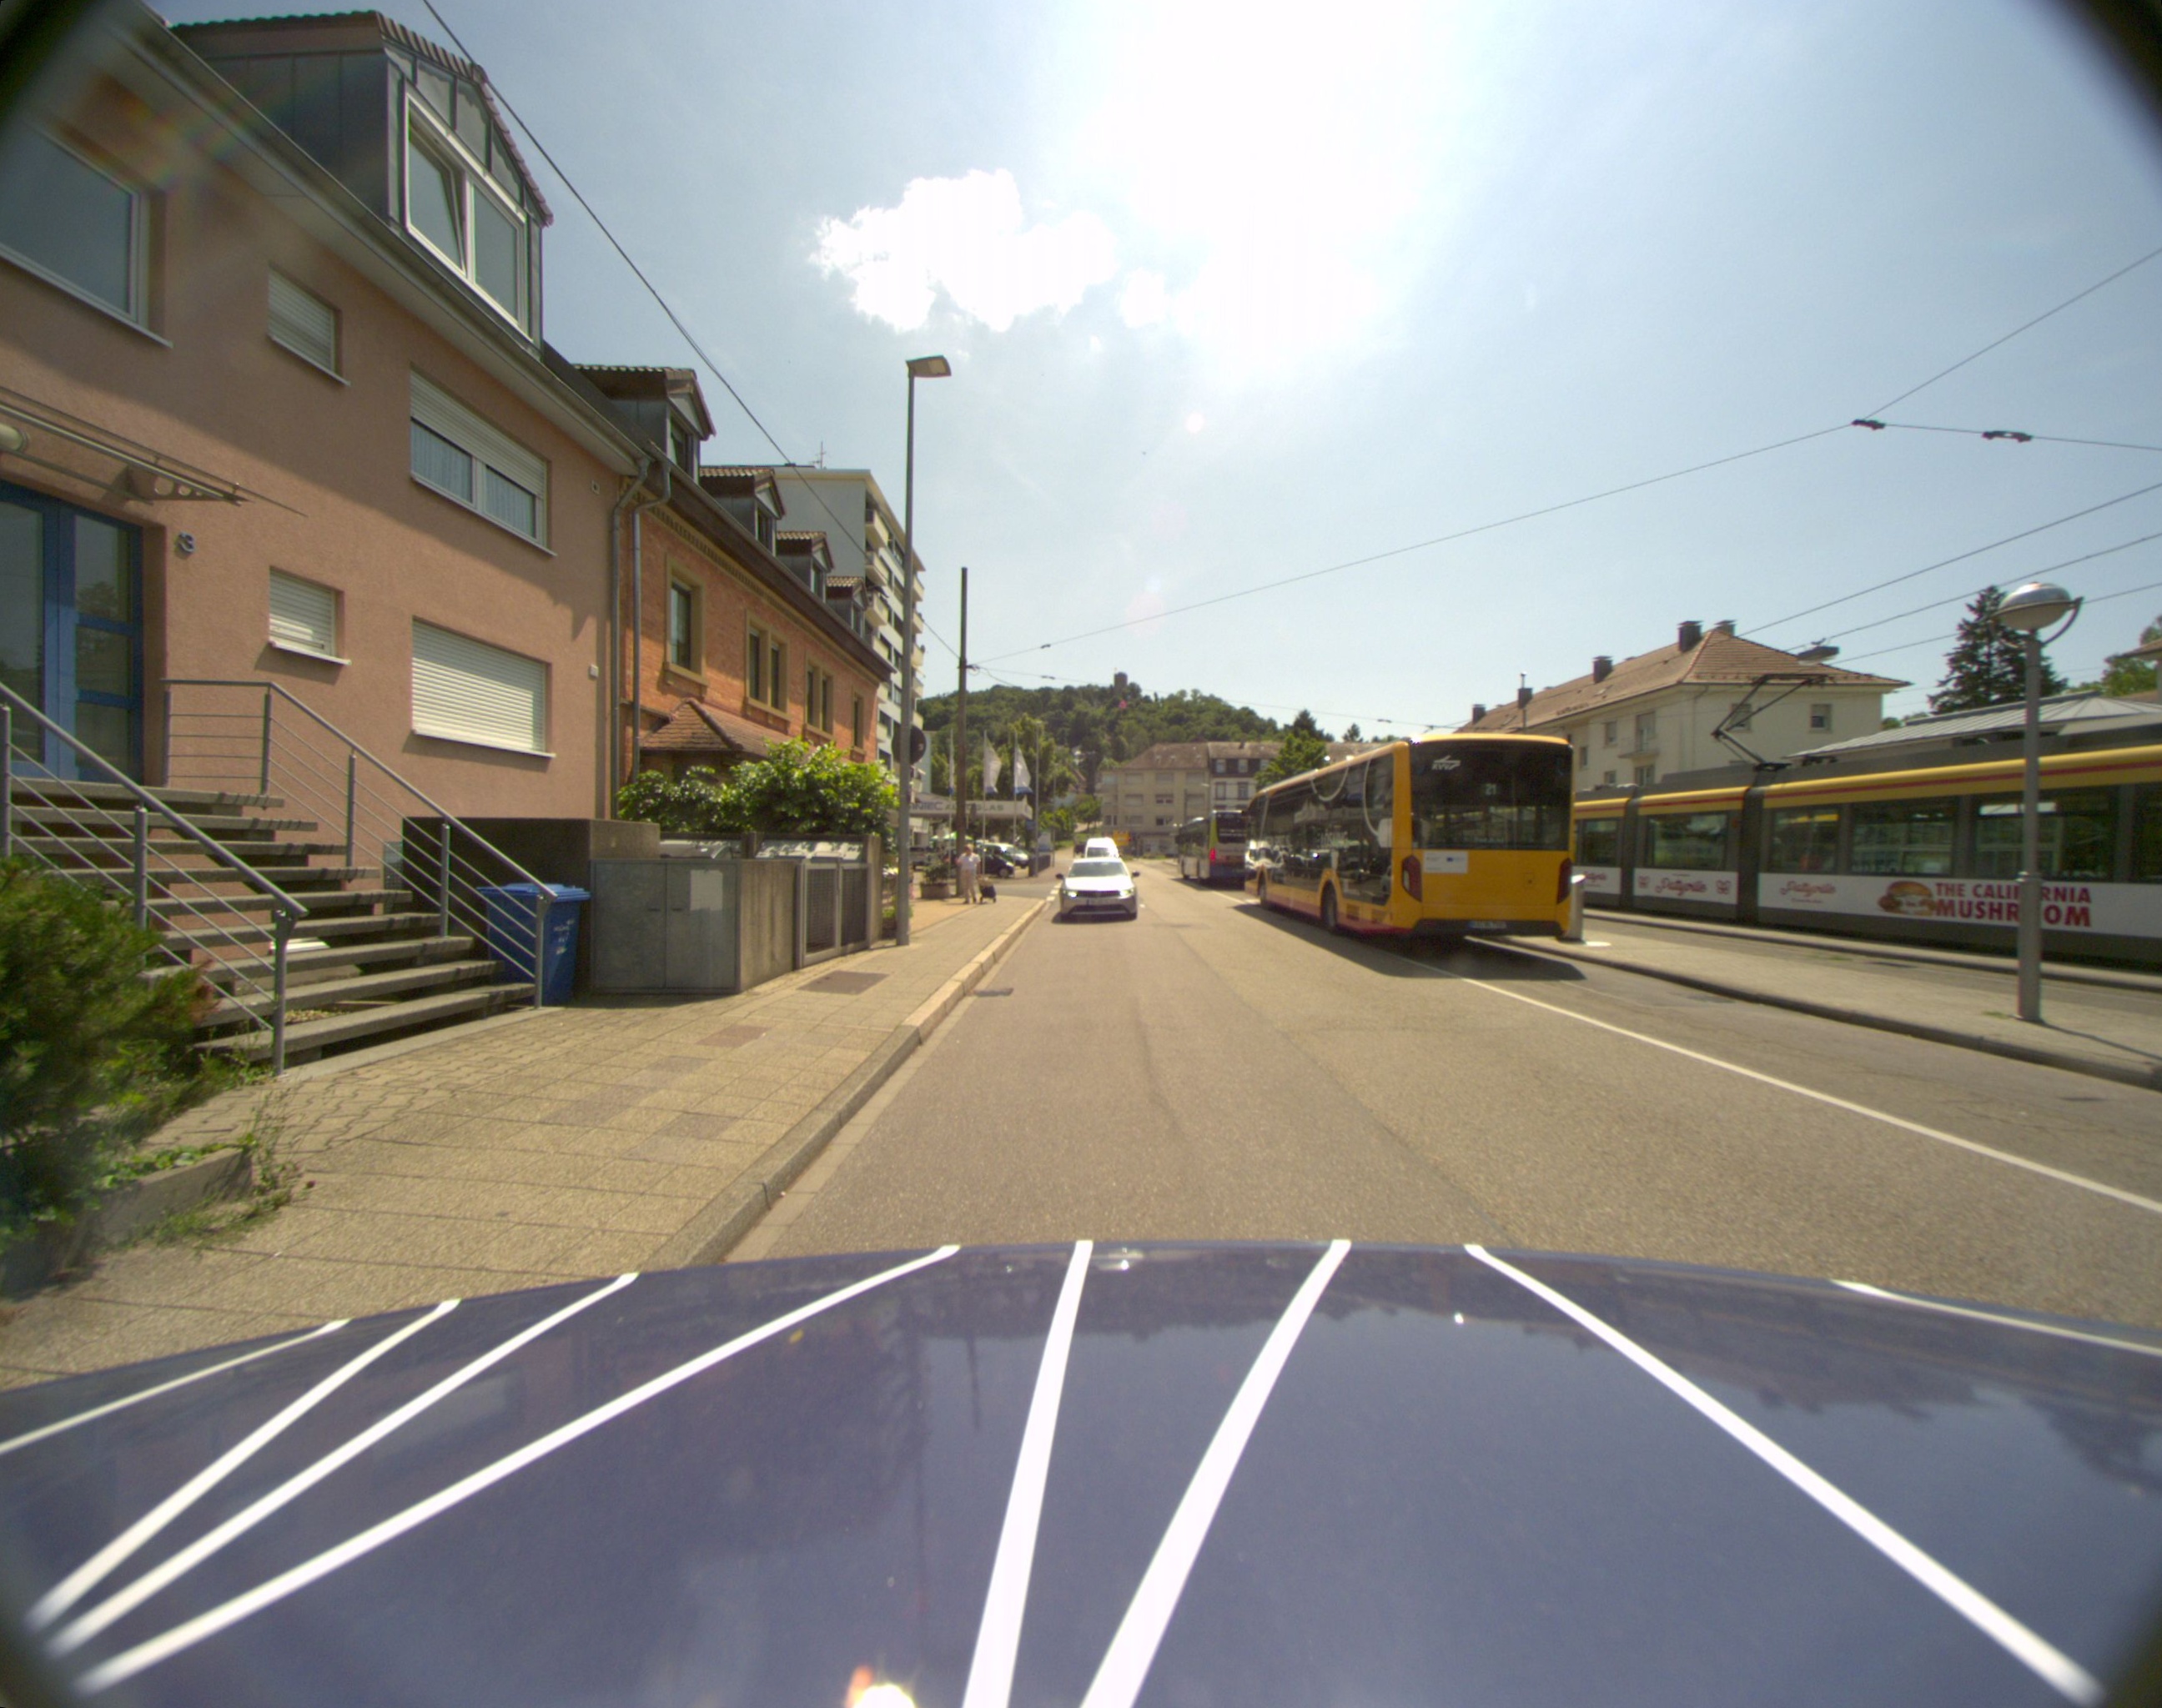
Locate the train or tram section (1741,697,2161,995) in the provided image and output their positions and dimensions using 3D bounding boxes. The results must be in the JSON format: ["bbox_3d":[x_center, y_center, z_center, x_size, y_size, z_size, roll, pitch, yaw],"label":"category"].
[{"bbox_3d":[14.585,-0.112,8.222,2.970,3.622,13.992,-1,1,1],"label":"train or tram section"}]

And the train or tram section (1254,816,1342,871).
[{"bbox_3d":[15.485,-0.758,55.599,2.970,3.475,12.711,-1,1,1],"label":"train or tram section"}]

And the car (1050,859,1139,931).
[{"bbox_3d":[0.445,0.876,18.074,1.817,1.371,4.392,0,1,5],"label":"car"}]

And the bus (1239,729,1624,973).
[{"bbox_3d":[5.985,-0.218,16.320,2.905,3.229,12.193,-1,2,2],"label":"bus"}]

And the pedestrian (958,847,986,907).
[{"bbox_3d":[-3.072,0.641,21.381,0.707,1.632,0.659,2,0,-8],"label":"pedestrian"}]

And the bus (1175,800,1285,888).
[{"bbox_3d":[6.617,-0.382,35.932,2.915,3.407,12.040,-1,0,1],"label":"bus"}]

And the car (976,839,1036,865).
[{"bbox_3d":[-5.499,-0.125,55.486,4.277,1.780,1.826,0,3,40],"label":"car"}]

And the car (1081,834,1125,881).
[{"bbox_3d":[1.094,0.121,40.398,1.999,2.259,5.442,-2,2,-2],"label":"car"}]

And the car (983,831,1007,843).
[{"bbox_3d":[-14.900,-2.921,131.912,2.398,2.002,5.384,-1,2,12],"label":"car"}]

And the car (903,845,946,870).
[{"bbox_3d":[-10.605,0.206,51.760,1.750,1.617,4.705,0,1,2],"label":"car"}]

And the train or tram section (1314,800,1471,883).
[{"bbox_3d":[15.235,-0.619,38.744,2.970,3.475,12.655,-1,1,1],"label":"train or tram section"}]

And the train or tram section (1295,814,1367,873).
[{"bbox_3d":[15.413,-0.665,47.151,2.970,3.475,4.417,1,1,1],"label":"train or tram section"}]

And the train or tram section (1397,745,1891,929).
[{"bbox_3d":[14.904,-0.459,23.920,2.970,3.622,17.349,-1,1,1],"label":"train or tram section"}]

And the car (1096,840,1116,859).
[{"bbox_3d":[2.576,-0.502,79.386,1.708,1.840,4.710,-2,2,-2],"label":"car"}]

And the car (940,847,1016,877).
[{"bbox_3d":[-5.526,0.420,40.483,3.890,1.534,1.840,0,2,-12],"label":"car"}]

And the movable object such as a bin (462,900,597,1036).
[{"bbox_3d":[-4.727,0.955,6.554,0.623,1.039,0.667,-1,2,0],"label":"movable object such as a bin"}]
